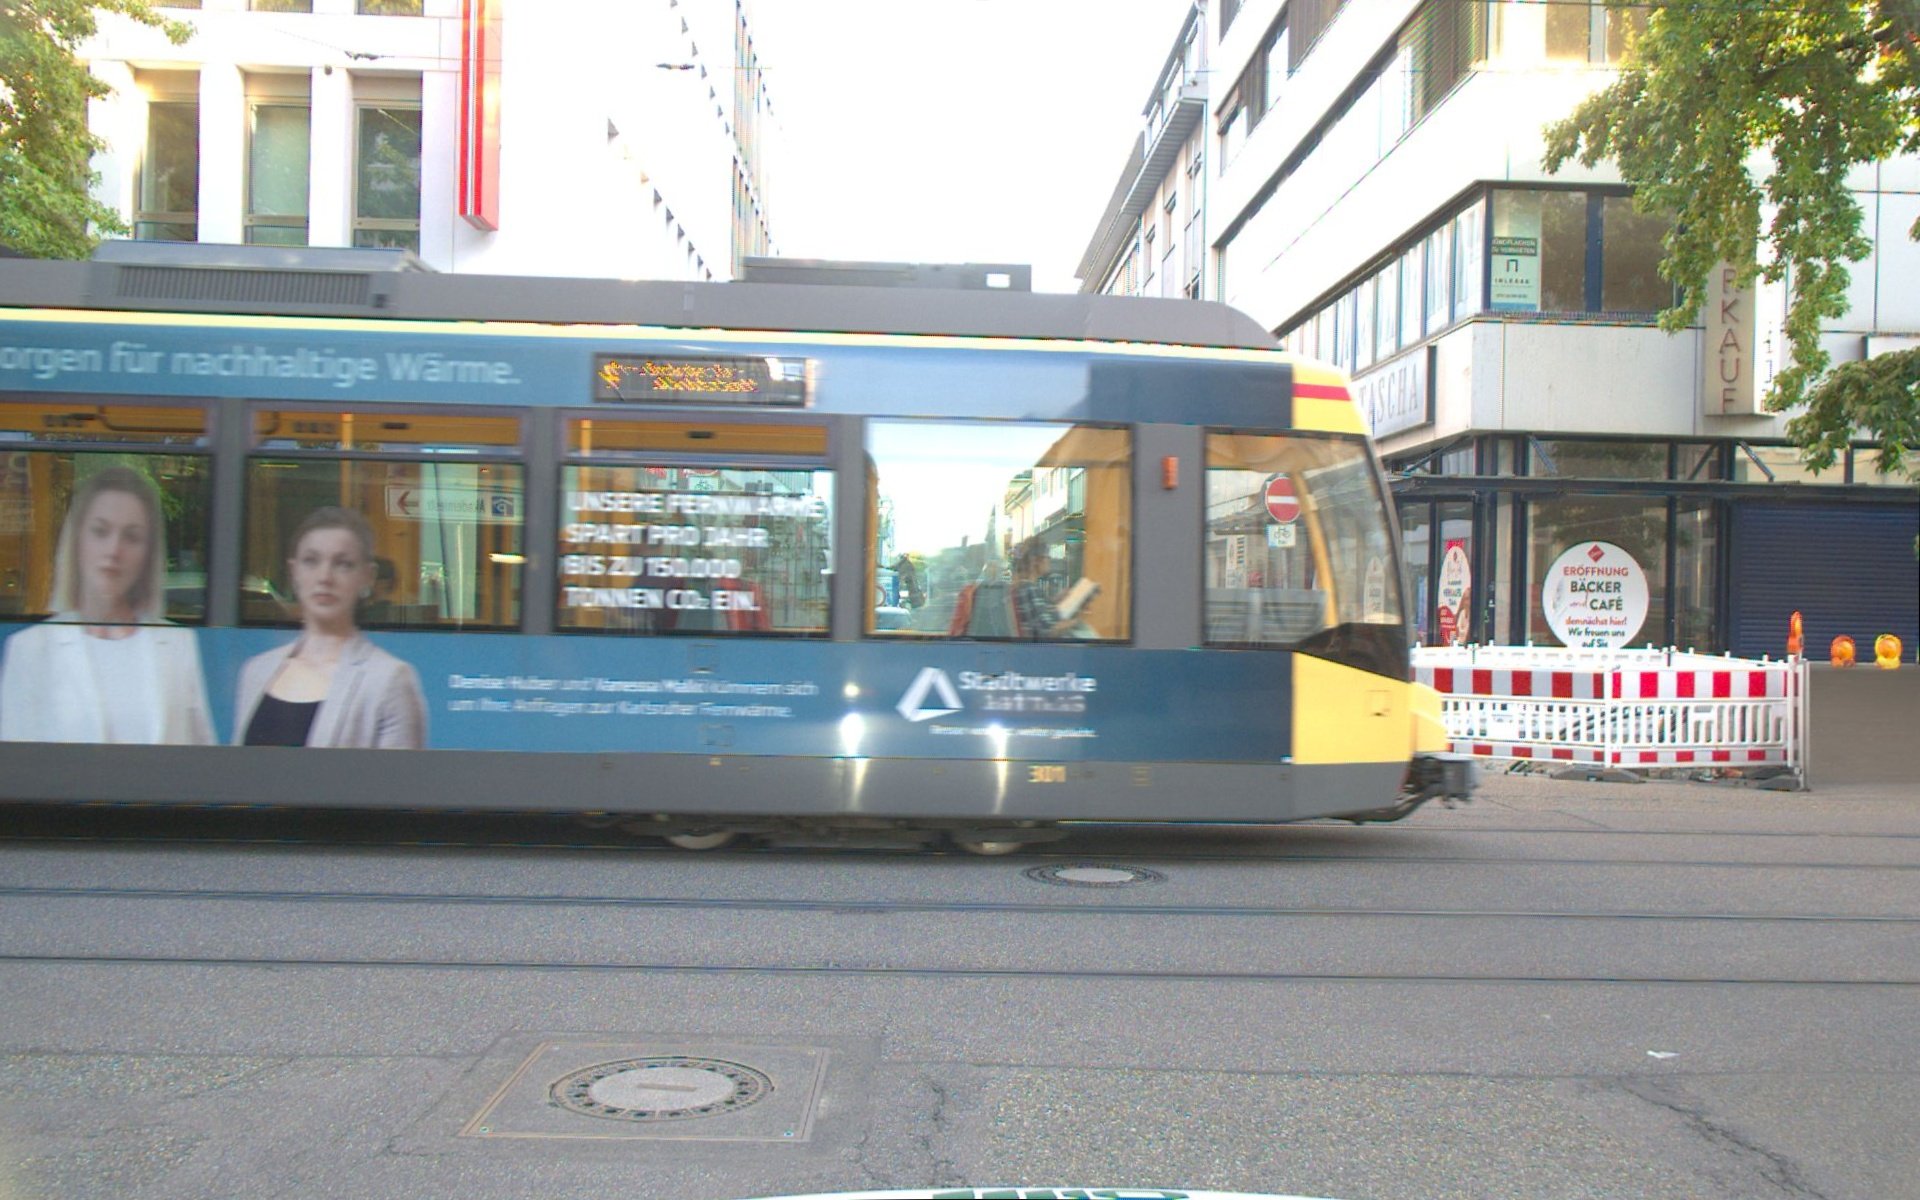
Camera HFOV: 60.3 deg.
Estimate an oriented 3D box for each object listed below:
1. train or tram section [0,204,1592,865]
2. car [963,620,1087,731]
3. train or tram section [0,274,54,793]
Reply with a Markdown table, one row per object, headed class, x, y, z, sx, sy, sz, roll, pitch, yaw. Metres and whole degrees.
| class | x | y | z | sx | sy | sz | roll | pitch | yaw |
| --- | --- | --- | --- | --- | --- | --- | --- | --- | --- |
| train or tram section | -1.508 | -0.343 | 10.756 | 10.128 | 3.585 | 3.025 | 1 | 0 | -2 |
| car | 1.002 | 1.170 | 27.083 | 1.858 | 1.641 | 4.152 | 0 | 0 | 1 |
| train or tram section | -11.695 | -0.544 | 10.387 | 10.158 | 3.585 | 3.016 | 1 | -1 | -2 |
